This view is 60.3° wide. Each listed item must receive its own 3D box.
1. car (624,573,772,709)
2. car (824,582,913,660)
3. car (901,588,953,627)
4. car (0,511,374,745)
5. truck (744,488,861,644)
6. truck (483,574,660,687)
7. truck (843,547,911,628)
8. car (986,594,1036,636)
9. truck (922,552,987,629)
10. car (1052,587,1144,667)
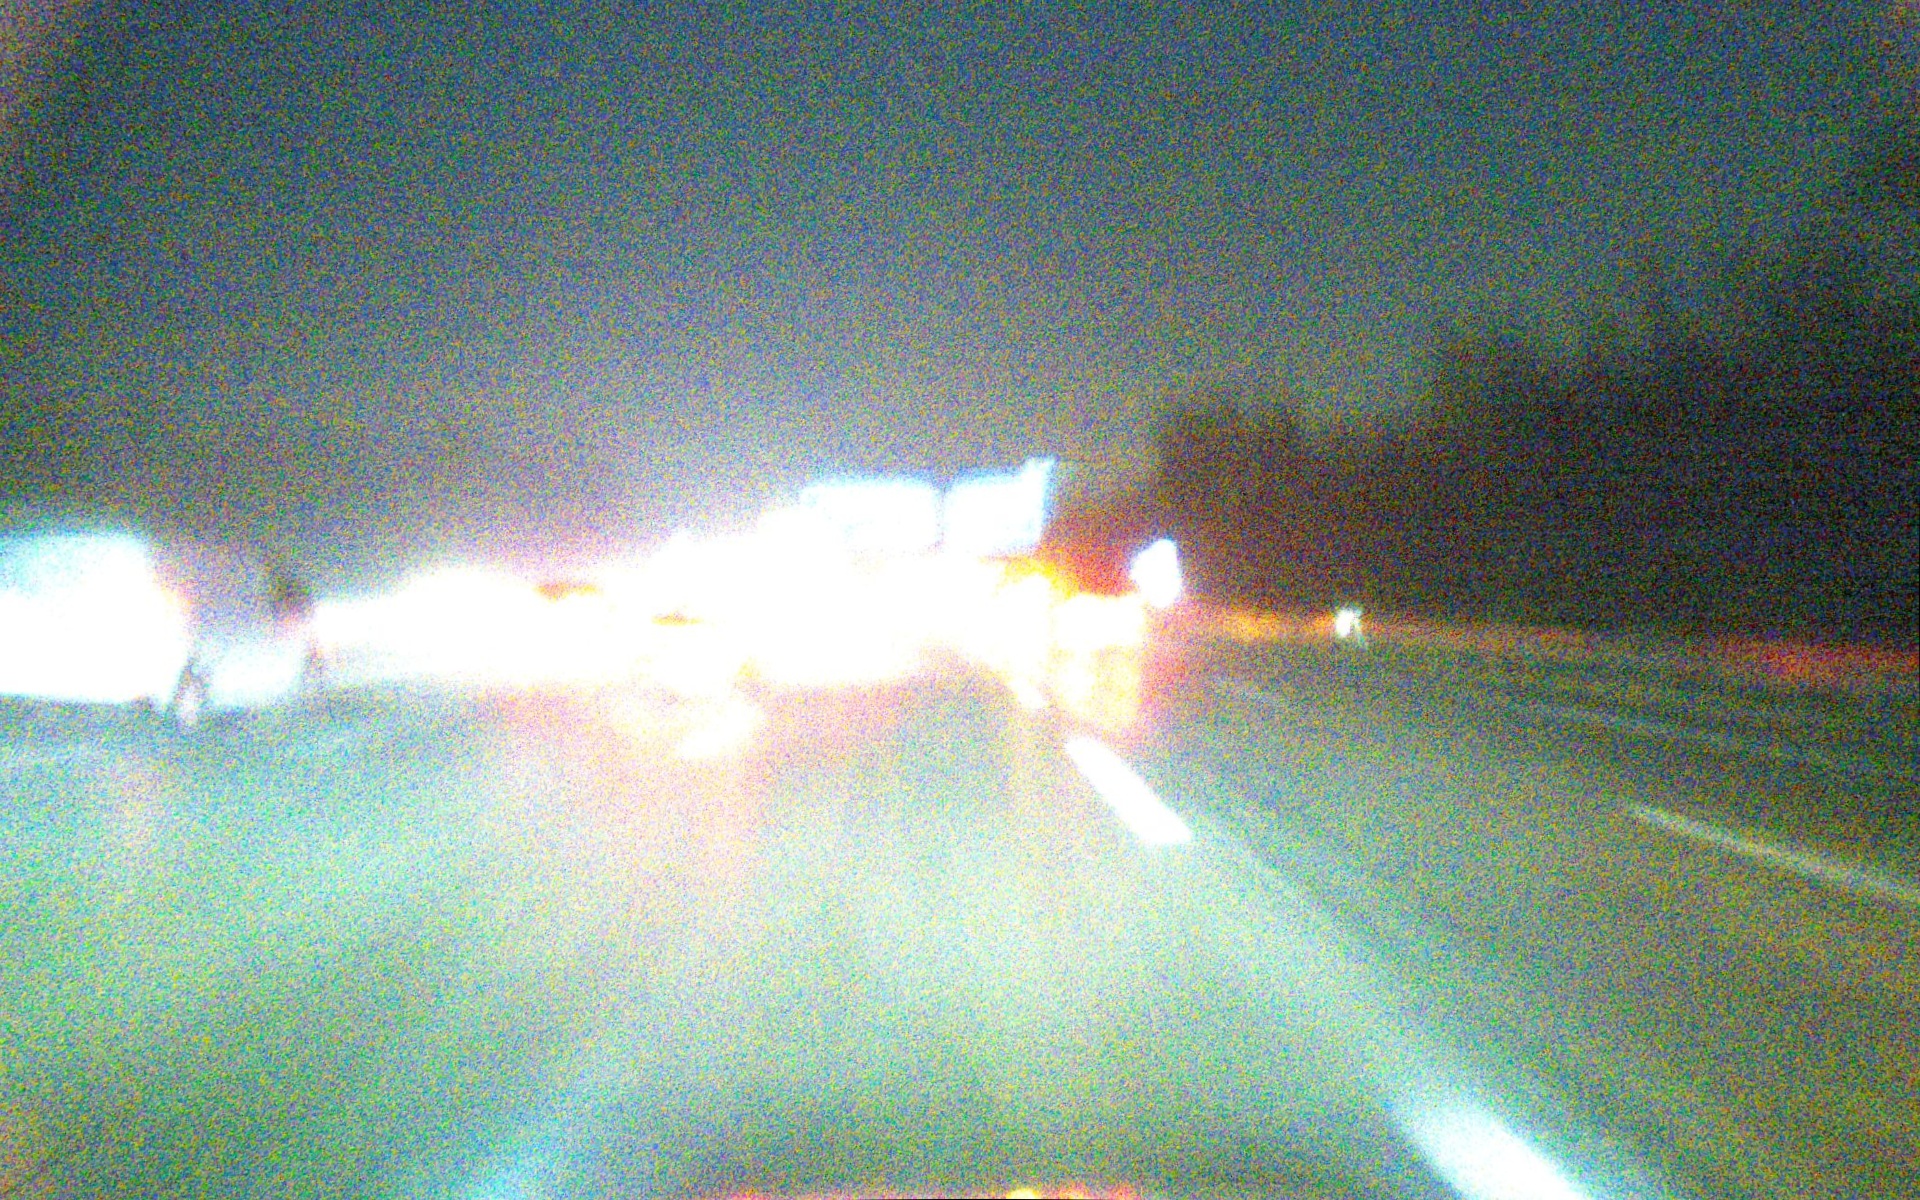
[{"bbox_3d":[-3.565,0.504,23.103,1.731,1.718,3.996,1,1,-5],"label":"car"},{"bbox_3d":[-2.208,0.506,41.013,1.997,1.792,4.514,1,0,-1],"label":"car"},{"bbox_3d":[-1.802,0.406,92.180,2.775,2.049,5.509,1,0,0],"label":"car"},{"bbox_3d":[-8.430,0.252,18.060,2.080,2.141,5.628,1,0,-1],"label":"car"},{"bbox_3d":[-5.344,-1.049,56.885,3.585,4.820,9.842,1,0,-5],"label":"truck"},{"bbox_3d":[-8.428,0.639,36.596,2.800,2.239,5.854,1,0,-3],"label":"truck"},{"bbox_3d":[-5.941,-0.857,120.944,4.166,5.539,10.885,1,0,1],"label":"truck"},{"bbox_3d":[2.188,0.647,71.743,1.953,1.733,4.457,1,0,-1],"label":"car"},{"bbox_3d":[-0.477,-0.626,120.642,4.079,5.306,9.947,1,0,-3],"label":"truck"},{"bbox_3d":[3.242,0.626,39.570,1.839,1.793,4.000,1,0,0],"label":"car"}]
